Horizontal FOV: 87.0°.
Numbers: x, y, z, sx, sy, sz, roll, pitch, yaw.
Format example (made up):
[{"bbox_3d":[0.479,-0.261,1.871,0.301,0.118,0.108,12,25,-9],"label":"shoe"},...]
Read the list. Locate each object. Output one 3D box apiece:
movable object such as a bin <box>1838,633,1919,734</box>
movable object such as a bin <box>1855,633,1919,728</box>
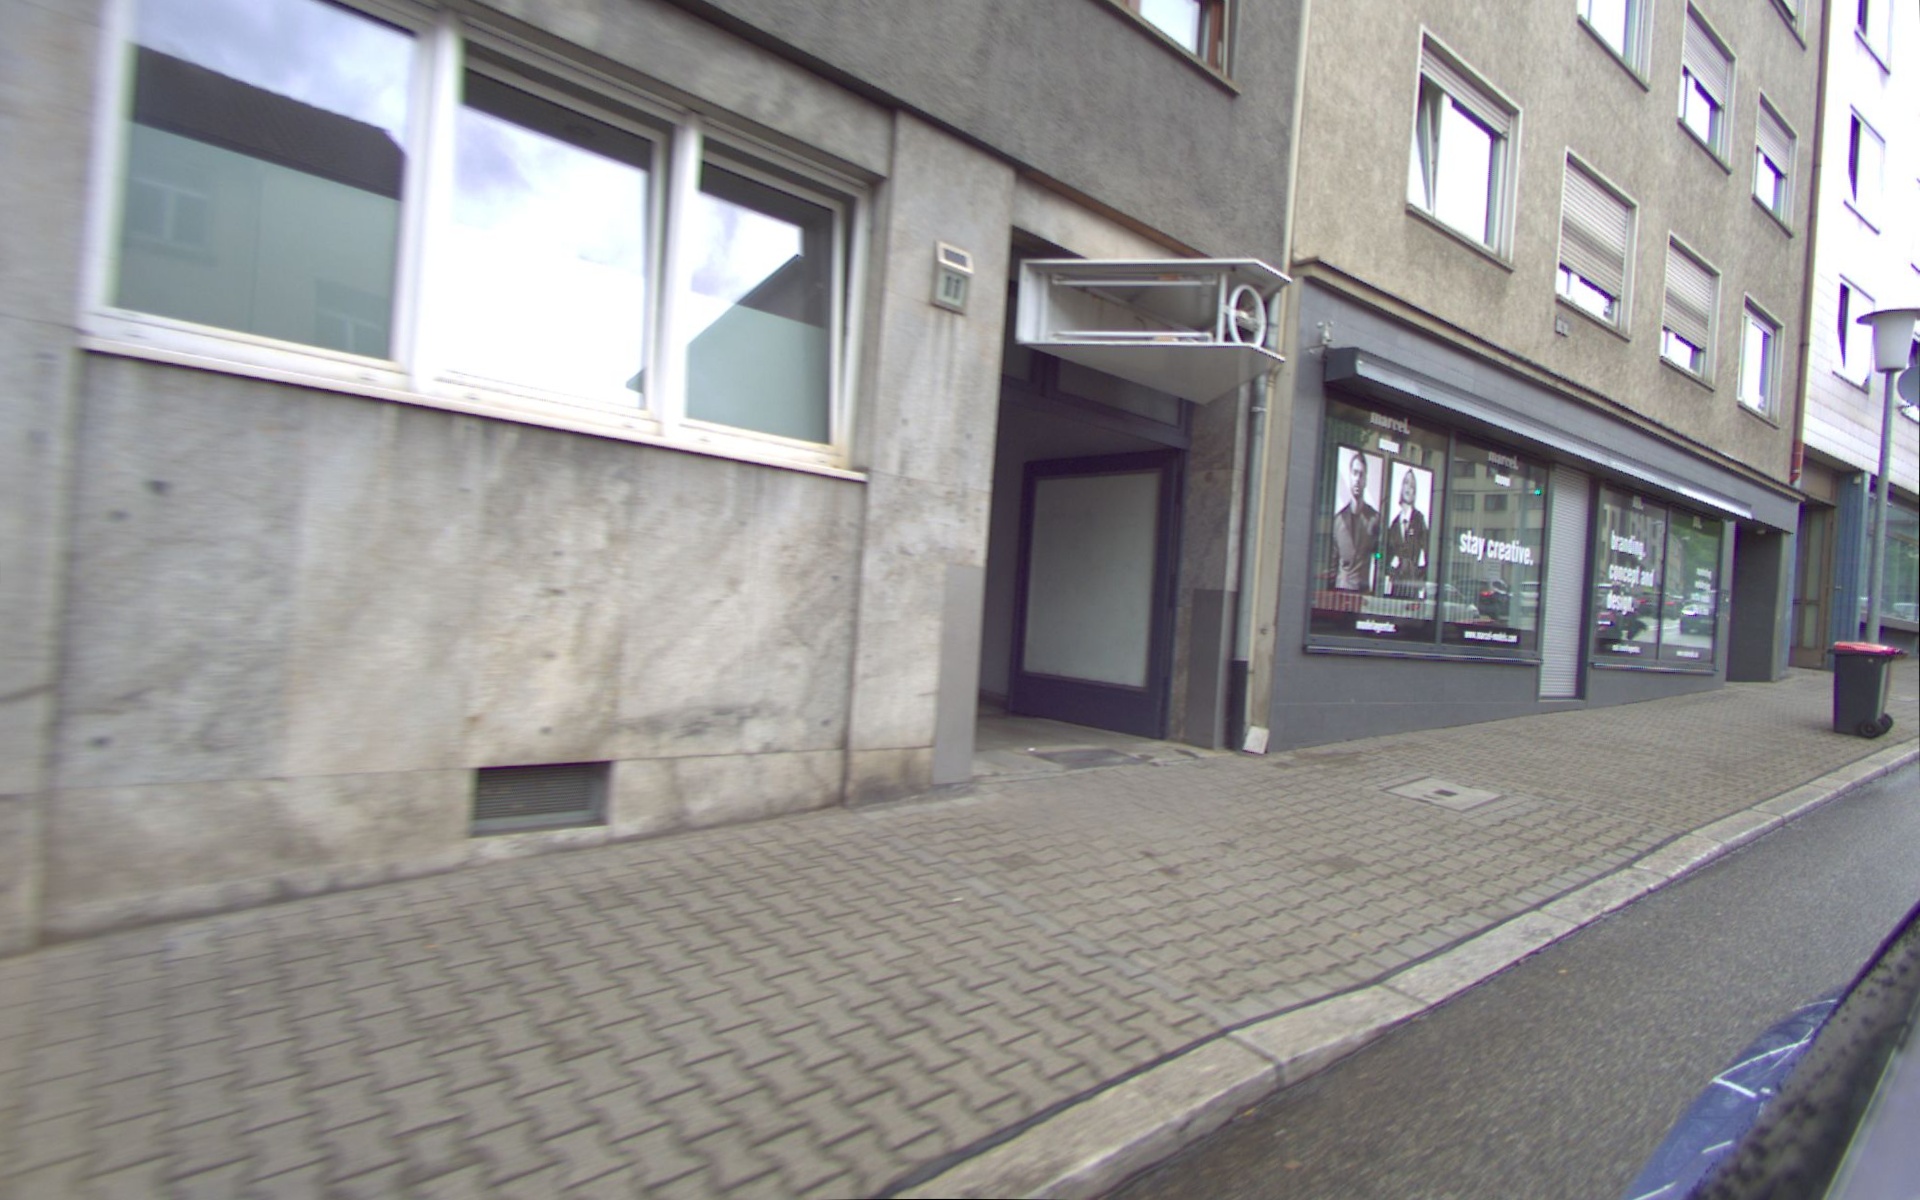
[{"bbox_3d":[9.669,0.873,10.626,0.527,0.993,0.526,6,-2,-34],"label":"movable object such as a bin"},{"bbox_3d":[10.110,0.864,10.922,0.527,0.962,0.526,6,-2,-34],"label":"movable object such as a bin"}]
